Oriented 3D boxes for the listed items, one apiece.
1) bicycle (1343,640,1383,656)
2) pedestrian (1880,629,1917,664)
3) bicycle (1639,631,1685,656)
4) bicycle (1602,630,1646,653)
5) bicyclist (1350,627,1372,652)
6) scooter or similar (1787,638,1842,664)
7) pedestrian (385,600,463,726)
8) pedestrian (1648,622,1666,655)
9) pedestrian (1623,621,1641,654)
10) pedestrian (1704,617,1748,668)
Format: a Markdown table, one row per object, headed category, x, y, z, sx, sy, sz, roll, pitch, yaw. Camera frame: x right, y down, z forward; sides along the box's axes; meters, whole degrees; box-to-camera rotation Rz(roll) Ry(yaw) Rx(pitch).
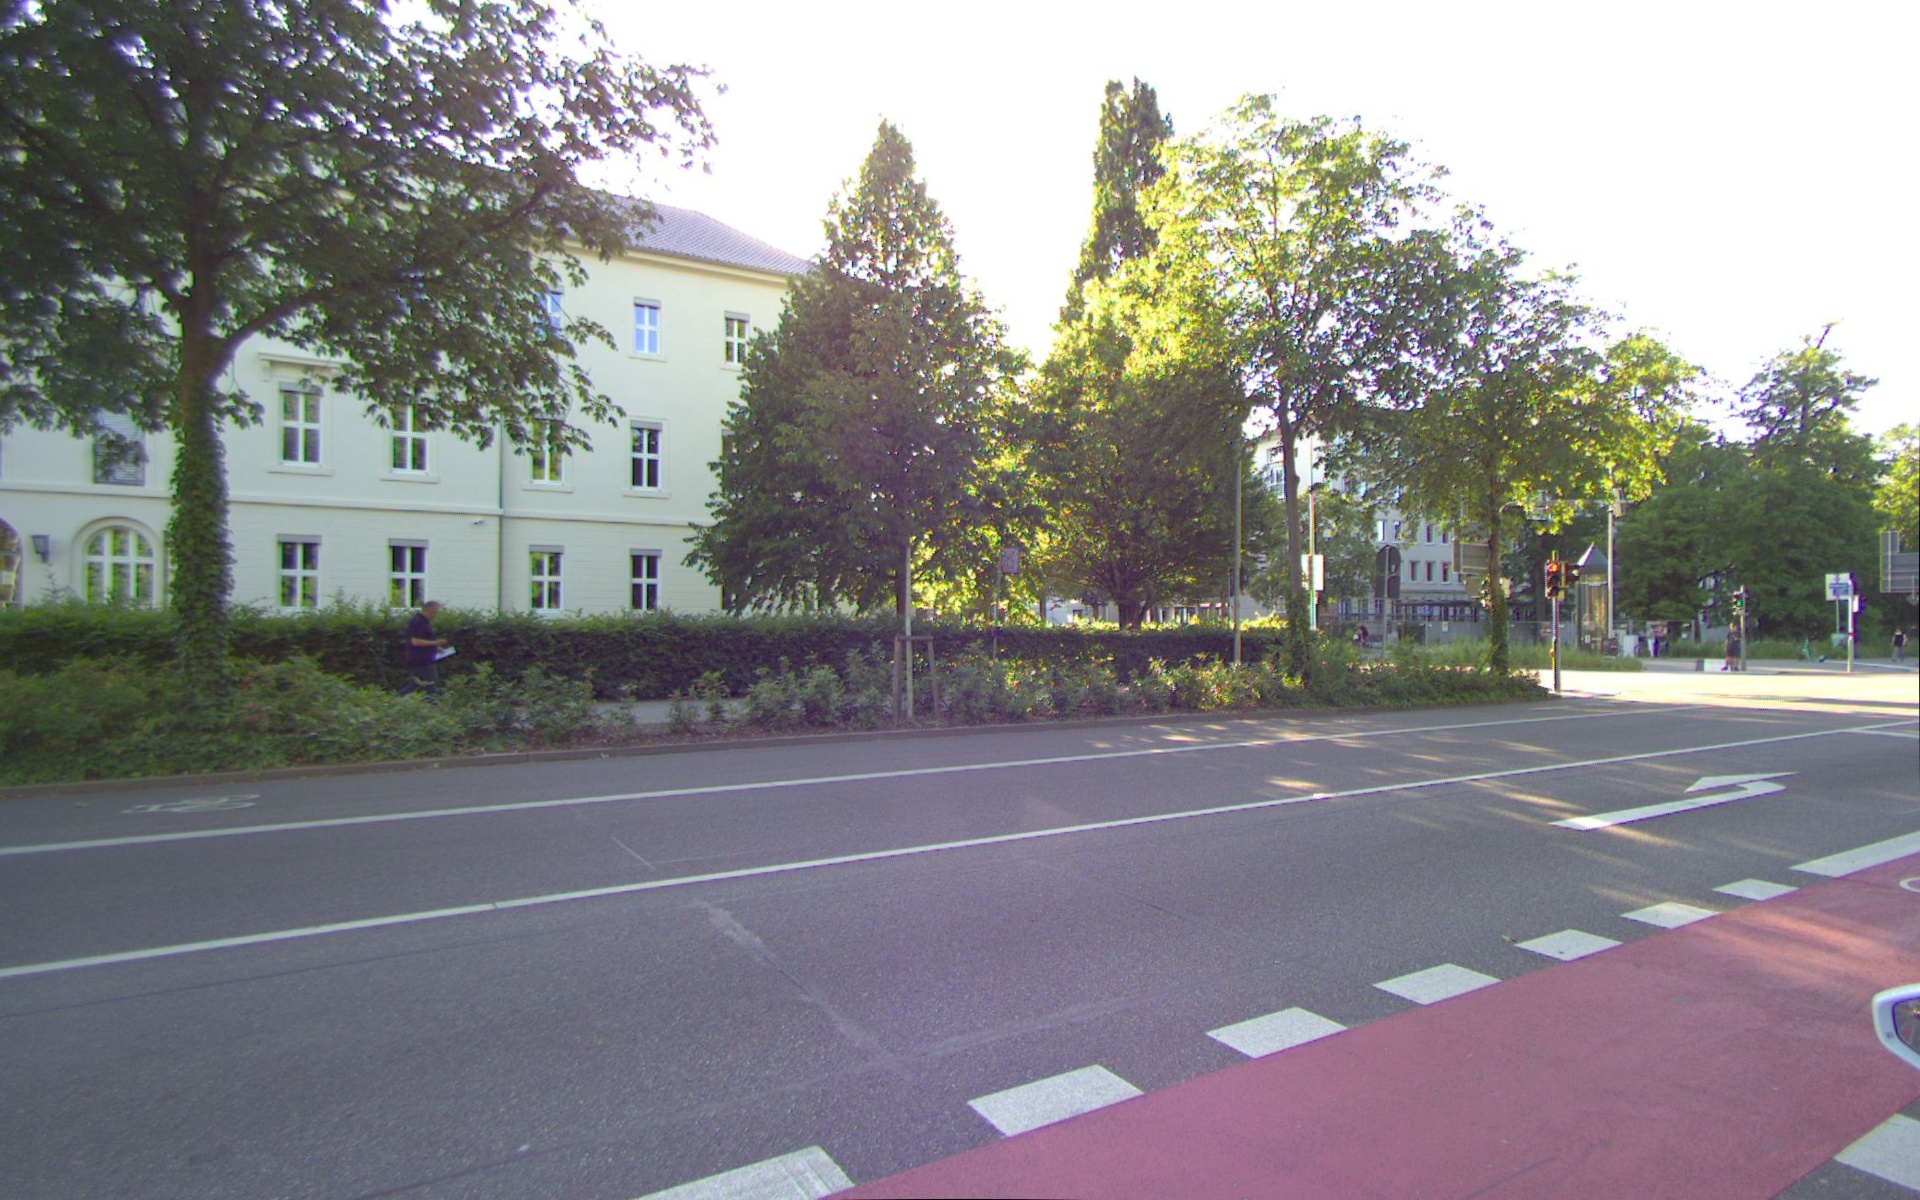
| category | x | y | z | sx | sy | sz | roll | pitch | yaw |
| --- | --- | --- | --- | --- | --- | --- | --- | --- | --- |
| bicycle | 26.353 | 3.108 | 65.709 | 0.574 | 1.002 | 2.695 | 1 | -2 | -28 |
| pedestrian | 43.427 | 2.146 | 46.483 | 0.992 | 1.624 | 1.080 | 1 | -2 | -36 |
| bicycle | 34.914 | 2.156 | 49.964 | 0.288 | 1.163 | 1.849 | 1 | -1 | -36 |
| bicycle | 34.213 | 2.130 | 51.773 | 0.438 | 1.163 | 1.849 | 1 | -1 | -36 |
| bicyclist | 26.282 | 2.610 | 65.846 | 0.867 | 1.627 | 0.970 | 1 | -2 | -29 |
| scooter or similar | 39.615 | 2.369 | 46.585 | 1.882 | 1.139 | 0.713 | 1 | 0 | 3 |
| pedestrian | -7.748 | 0.890 | 14.532 | 0.957 | 1.743 | 0.831 | 1 | -2 | -30 |
| pedestrian | 34.546 | 1.917 | 49.810 | 0.442 | 1.601 | 0.624 | 1 | 0 | -39 |
| pedestrian | 34.283 | 1.896 | 51.245 | 0.442 | 1.664 | 0.624 | 1 | 0 | -39 |
| pedestrian | 31.795 | 1.750 | 41.691 | 1.175 | 2.040 | 0.992 | 1 | 0 | -25 |
